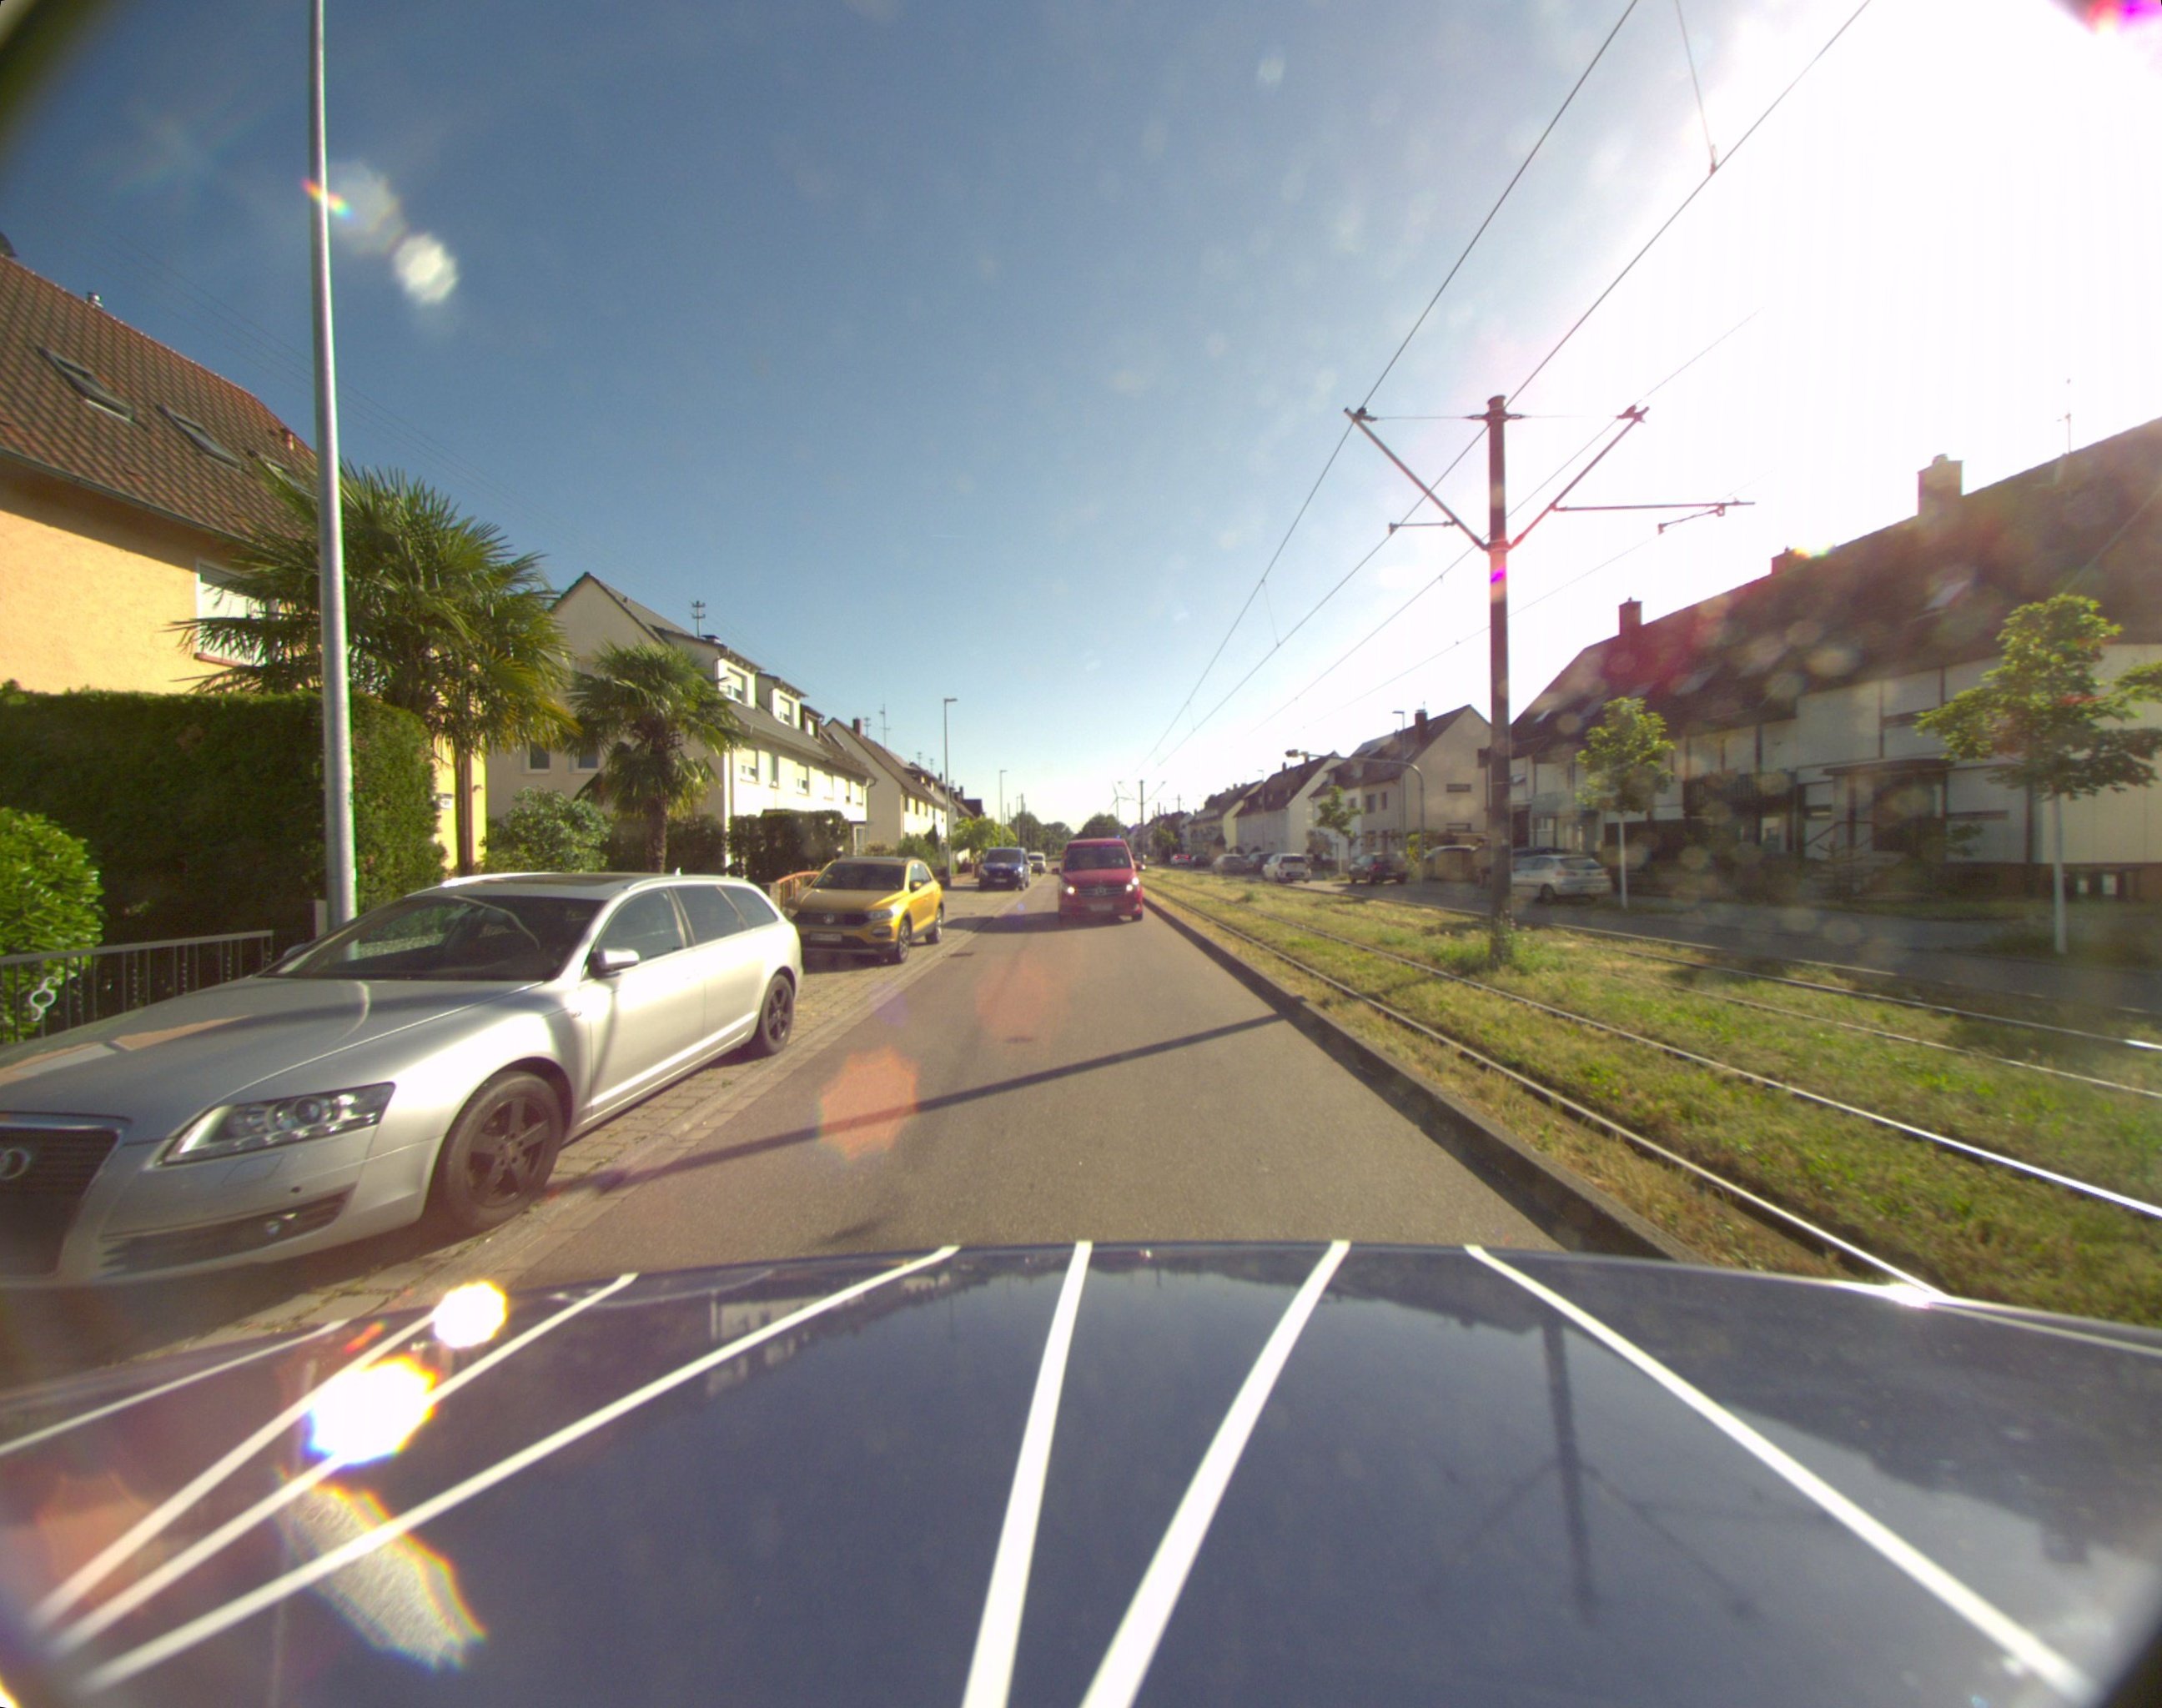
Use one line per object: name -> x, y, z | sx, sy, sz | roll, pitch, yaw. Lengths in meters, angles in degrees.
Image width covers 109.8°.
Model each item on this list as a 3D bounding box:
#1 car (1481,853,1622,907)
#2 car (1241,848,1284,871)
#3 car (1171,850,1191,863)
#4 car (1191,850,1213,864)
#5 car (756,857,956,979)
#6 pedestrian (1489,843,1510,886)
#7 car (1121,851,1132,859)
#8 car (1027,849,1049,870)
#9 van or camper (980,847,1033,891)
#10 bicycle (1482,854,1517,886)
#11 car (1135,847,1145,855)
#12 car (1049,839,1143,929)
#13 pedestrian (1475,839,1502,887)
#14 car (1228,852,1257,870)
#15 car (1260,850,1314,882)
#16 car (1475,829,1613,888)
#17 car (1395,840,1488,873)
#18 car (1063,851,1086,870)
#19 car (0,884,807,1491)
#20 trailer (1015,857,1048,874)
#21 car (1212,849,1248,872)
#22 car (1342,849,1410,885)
car -> 13.990, 0.717, 22.900 | 1.662, 1.428, 4.102 | -1, 0, -1
car -> 13.538, 0.378, 56.987 | 1.926, 1.551, 4.857 | -2, 1, -1
car -> 12.342, 0.259, 94.107 | 1.832, 1.522, 4.092 | -2, 1, -1
car -> 13.091, 0.283, 82.279 | 1.704, 1.389, 4.092 | -2, 1, -1
car -> -3.400, 0.864, 12.581 | 1.810, 1.550, 4.926 | 0, 1, 0
pedestrian -> 16.654, 0.429, 30.243 | 0.552, 1.678, 0.624 | -2, 1, 15
car -> 10.138, 0.162, 169.469 | 2.017, 1.561, 4.092 | -2, 1, -1
car -> -3.847, 0.501, 68.010 | 1.796, 1.752, 4.583 | 2, 0, -3
van or camper -> -3.289, 0.589, 34.626 | 1.954, 1.836, 5.581 | 0, 1, -1
bicycle -> 16.138, 0.606, 29.336 | 0.478, 1.156, 1.872 | -2, 1, 6
car -> 11.514, -0.568, 148.613 | 1.704, 1.455, 4.092 | -2, 1, -1
car -> 0.300, 0.623, 19.139 | 1.999, 1.889, 5.389 | -2, 1, -1
pedestrian -> 15.718, 0.352, 29.322 | 0.617, 1.805, 0.678 | -2, 1, -8
car -> 13.180, 0.545, 62.292 | 1.469, 1.459, 3.998 | 0, 0, -1
car -> 10.374, 0.579, 38.501 | 1.693, 1.467, 3.679 | 1, 1, -1
car -> 19.038, 0.162, 31.359 | 4.471, 2.069, 1.787 | -4, 1, 1
car -> 20.625, 0.161, 43.617 | 4.403, 1.773, 1.970 | -1, 0, 0
car -> -0.637, 0.583, 71.234 | 1.862, 1.592, 4.327 | 2, 1, -3
car -> -3.290, 0.959, 4.322 | 1.752, 1.438, 4.699 | 0, -1, 0
trailer -> -3.733, 0.848, 57.648 | 2.278, 1.124, 6.434 | 2, 0, -3
car -> 10.539, 0.424, 54.026 | 1.693, 1.467, 4.082 | -2, 1, -1
car -> 13.751, 0.561, 35.604 | 1.623, 1.503, 4.085 | -2, 0, 1
